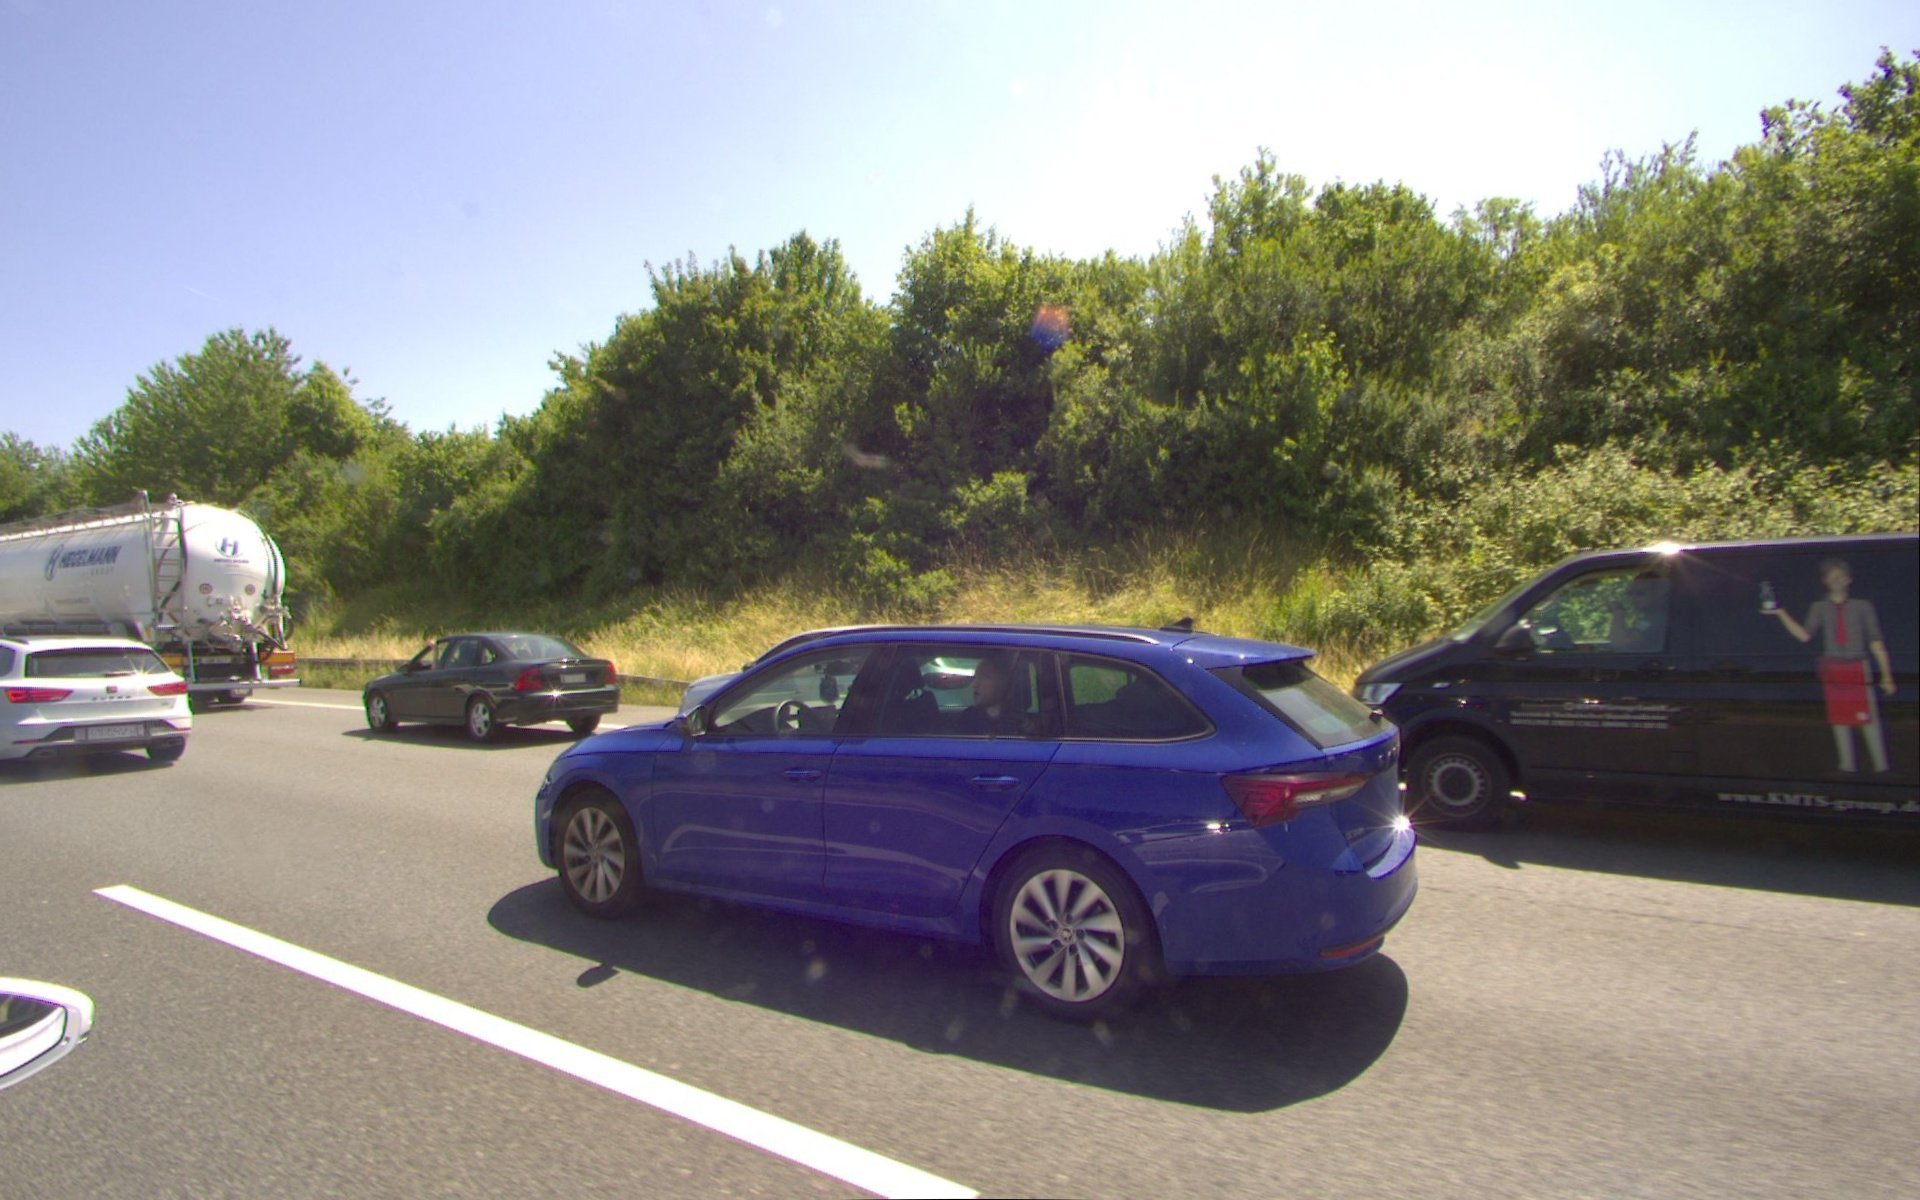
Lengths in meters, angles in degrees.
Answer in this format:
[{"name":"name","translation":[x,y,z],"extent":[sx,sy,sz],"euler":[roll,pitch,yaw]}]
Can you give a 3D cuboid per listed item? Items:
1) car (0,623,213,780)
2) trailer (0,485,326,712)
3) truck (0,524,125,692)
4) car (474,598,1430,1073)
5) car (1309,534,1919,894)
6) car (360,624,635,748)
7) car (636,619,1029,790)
[{"name":"car","translation":[-10.474,1.049,11.472],"extent":[4.254,1.462,1.743],"euler":[-2,-1,34]},{"name":"trailer","translation":[-17.917,0.079,21.468],"extent":[11.324,3.895,2.755],"euler":[-1,0,33]},{"name":"truck","translation":[-24.014,0.243,25.415],"extent":[5.493,3.887,2.787],"euler":[-1,0,33]},{"name":"car","translation":[-0.231,0.796,5.012],"extent":[4.506,1.435,1.773],"euler":[-2,0,31]},{"name":"car","translation":[5.064,0.646,6.728],"extent":[4.790,1.965,1.909],"euler":[-2,-1,34]},{"name":"car","translation":[-6.489,1.122,13.940],"extent":[3.934,1.435,1.637],"euler":[-2,0,34]},{"name":"car","translation":[-1.415,0.954,10.623],"extent":[3.971,1.462,1.727],"euler":[0,0,33]}]
